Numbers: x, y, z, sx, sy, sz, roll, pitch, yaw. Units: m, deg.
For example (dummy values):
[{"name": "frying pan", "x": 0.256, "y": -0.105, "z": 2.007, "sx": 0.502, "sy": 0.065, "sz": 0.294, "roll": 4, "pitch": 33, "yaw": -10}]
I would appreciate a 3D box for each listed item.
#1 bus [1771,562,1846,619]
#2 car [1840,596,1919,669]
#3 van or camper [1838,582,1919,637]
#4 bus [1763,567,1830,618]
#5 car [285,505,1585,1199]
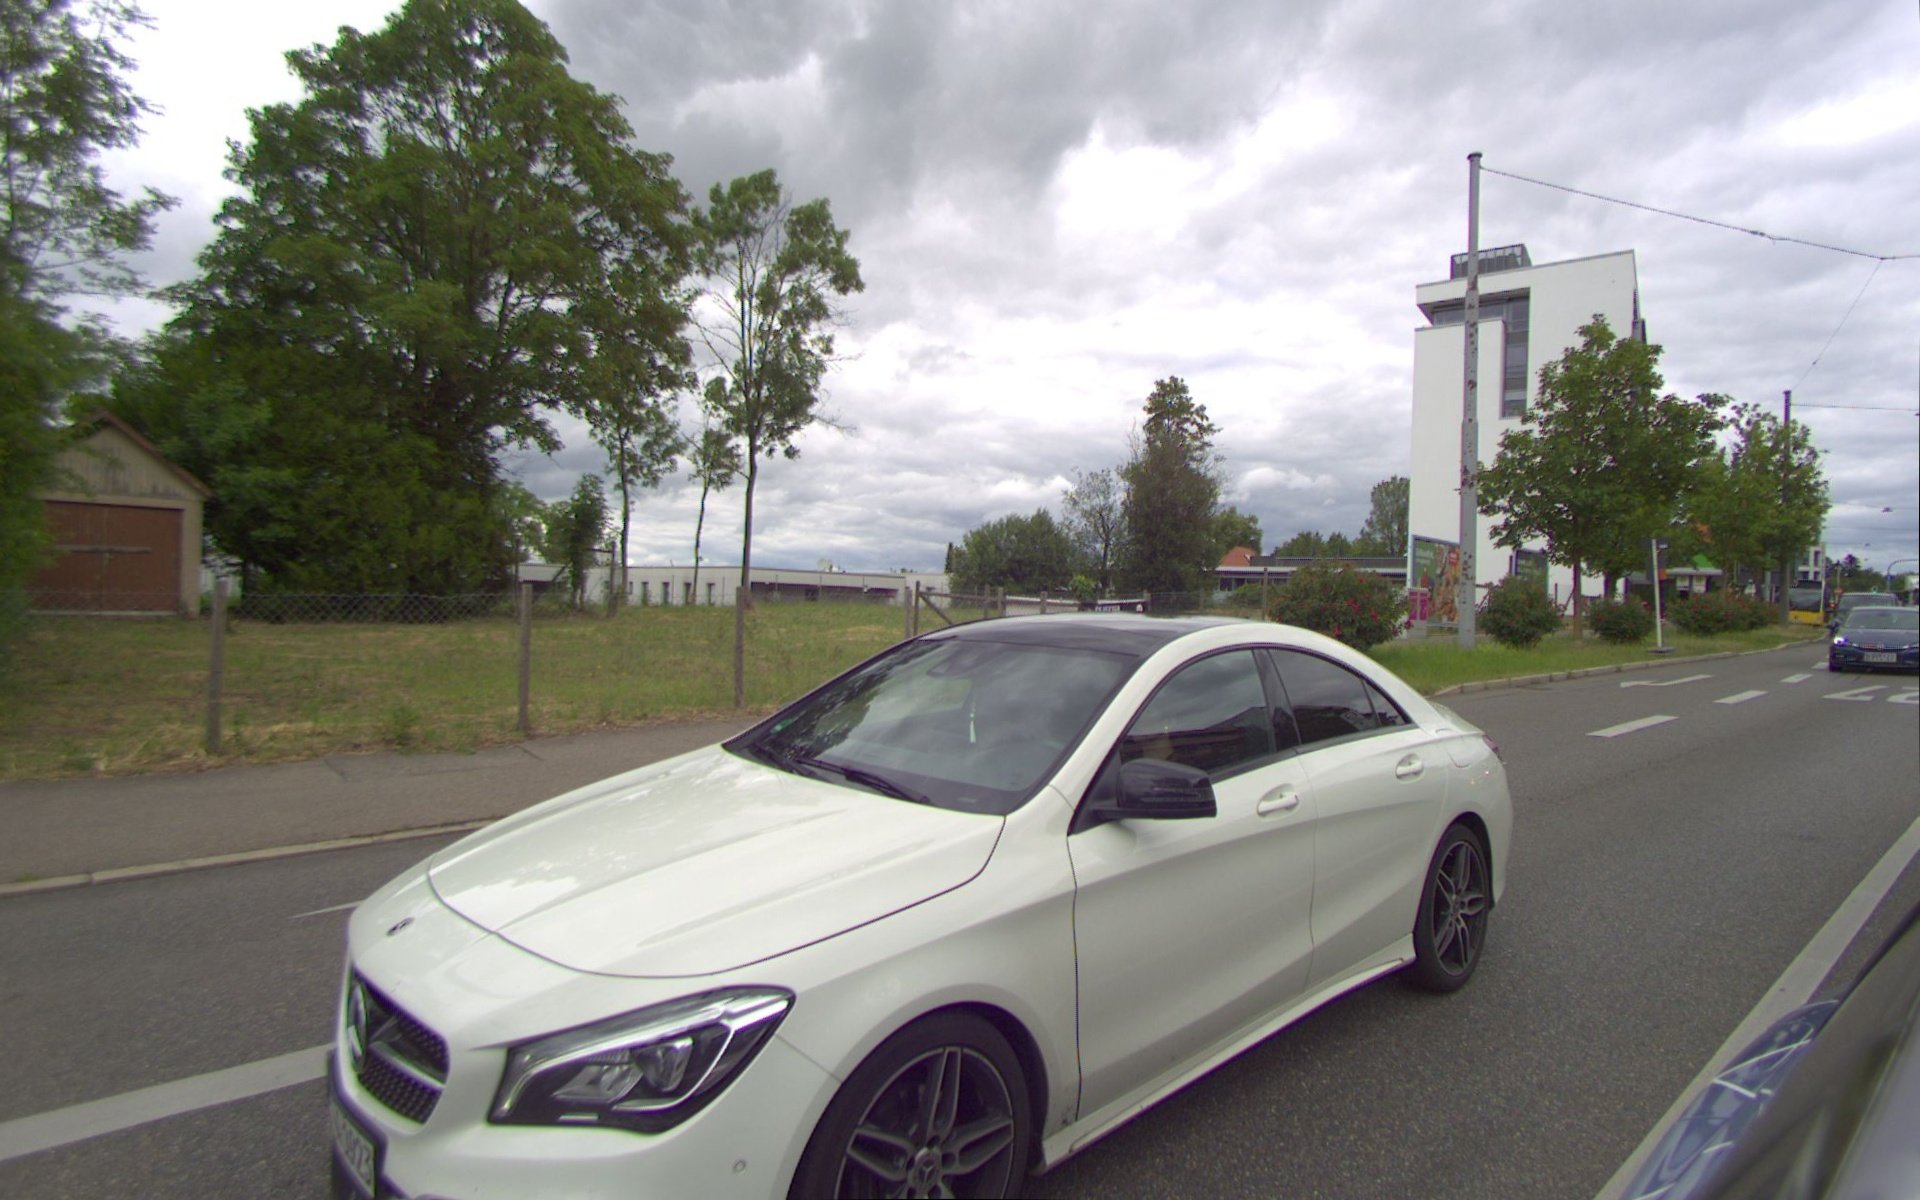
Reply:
[{"name": "bus", "x": 53.028, "y": -0.569, "z": 63.478, "sx": 2.975, "sy": 3.282, "sz": 9.734, "roll": 1, "pitch": 1, "yaw": 37}, {"name": "car", "x": 21.121, "y": 0.675, "z": 22.704, "sx": 4.296, "sy": 1.501, "sz": 1.732, "roll": 0, "pitch": 0, "yaw": -44}, {"name": "van or camper", "x": 33.960, "y": 0.329, "z": 37.300, "sx": 4.764, "sy": 1.902, "sz": 1.807, "roll": 0, "pitch": 0, "yaw": -41}, {"name": "bus", "x": 58.538, "y": -0.480, "z": 71.001, "sx": 3.028, "sy": 3.276, "sz": 9.214, "roll": 2, "pitch": 1, "yaw": 36}, {"name": "car", "x": 0.467, "y": 0.652, "z": 3.715, "sx": 4.690, "sy": 1.524, "sz": 1.870, "roll": 1, "pitch": -1, "yaw": -42}]
